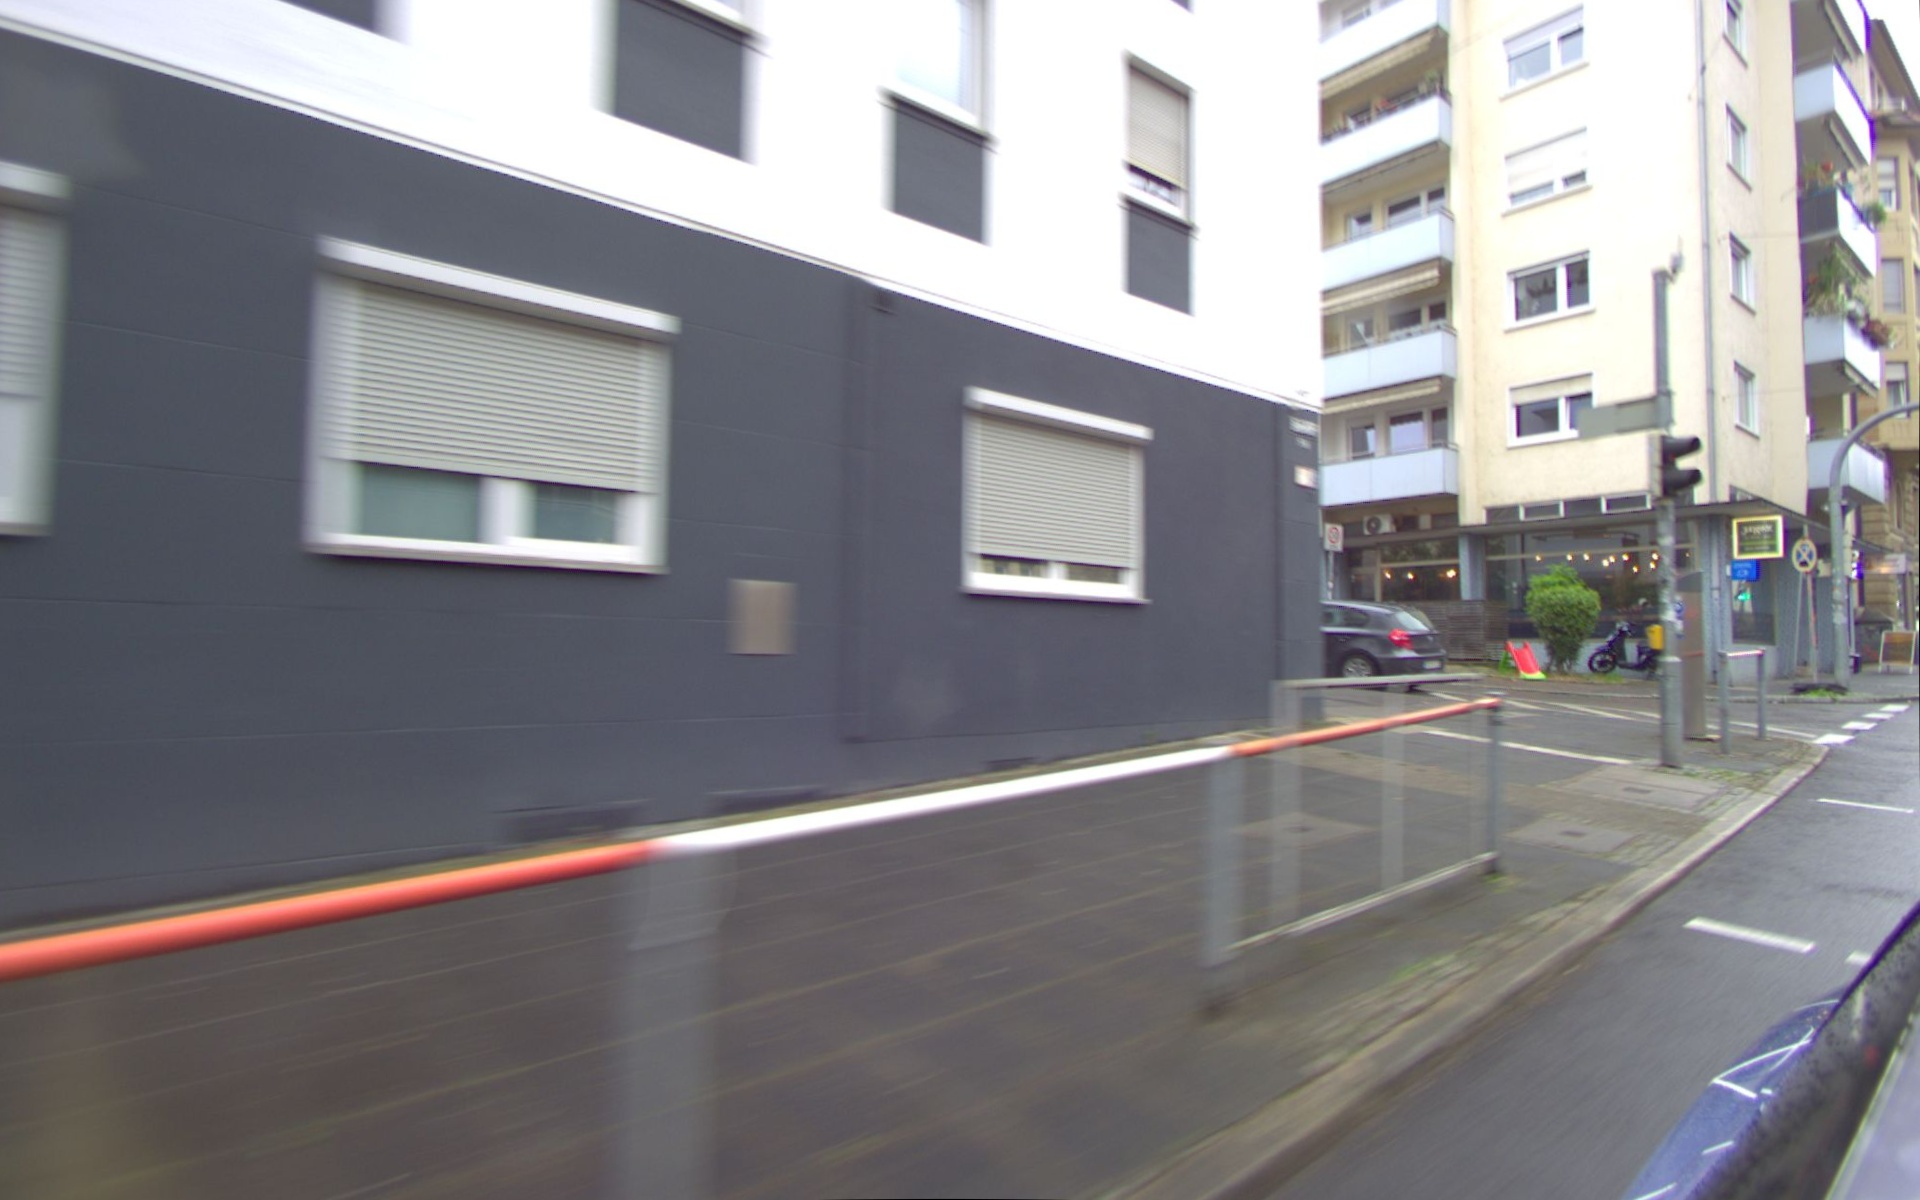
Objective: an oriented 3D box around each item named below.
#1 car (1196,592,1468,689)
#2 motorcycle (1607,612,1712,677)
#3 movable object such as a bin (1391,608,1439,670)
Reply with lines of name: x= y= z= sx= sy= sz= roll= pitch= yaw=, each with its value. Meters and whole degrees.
car: x=6.119 y=0.589 z=17.017 sx=1.729 sy=1.432 sz=3.997 roll=0 pitch=0 yaw=-38
motorcycle: x=14.127 y=0.880 z=20.482 sx=0.589 sy=1.176 sz=1.648 roll=-2 pitch=2 yaw=-37
movable object such as a bin: x=9.115 y=0.770 z=20.269 sx=0.721 sy=1.195 sz=0.600 roll=-2 pitch=0 yaw=-43
